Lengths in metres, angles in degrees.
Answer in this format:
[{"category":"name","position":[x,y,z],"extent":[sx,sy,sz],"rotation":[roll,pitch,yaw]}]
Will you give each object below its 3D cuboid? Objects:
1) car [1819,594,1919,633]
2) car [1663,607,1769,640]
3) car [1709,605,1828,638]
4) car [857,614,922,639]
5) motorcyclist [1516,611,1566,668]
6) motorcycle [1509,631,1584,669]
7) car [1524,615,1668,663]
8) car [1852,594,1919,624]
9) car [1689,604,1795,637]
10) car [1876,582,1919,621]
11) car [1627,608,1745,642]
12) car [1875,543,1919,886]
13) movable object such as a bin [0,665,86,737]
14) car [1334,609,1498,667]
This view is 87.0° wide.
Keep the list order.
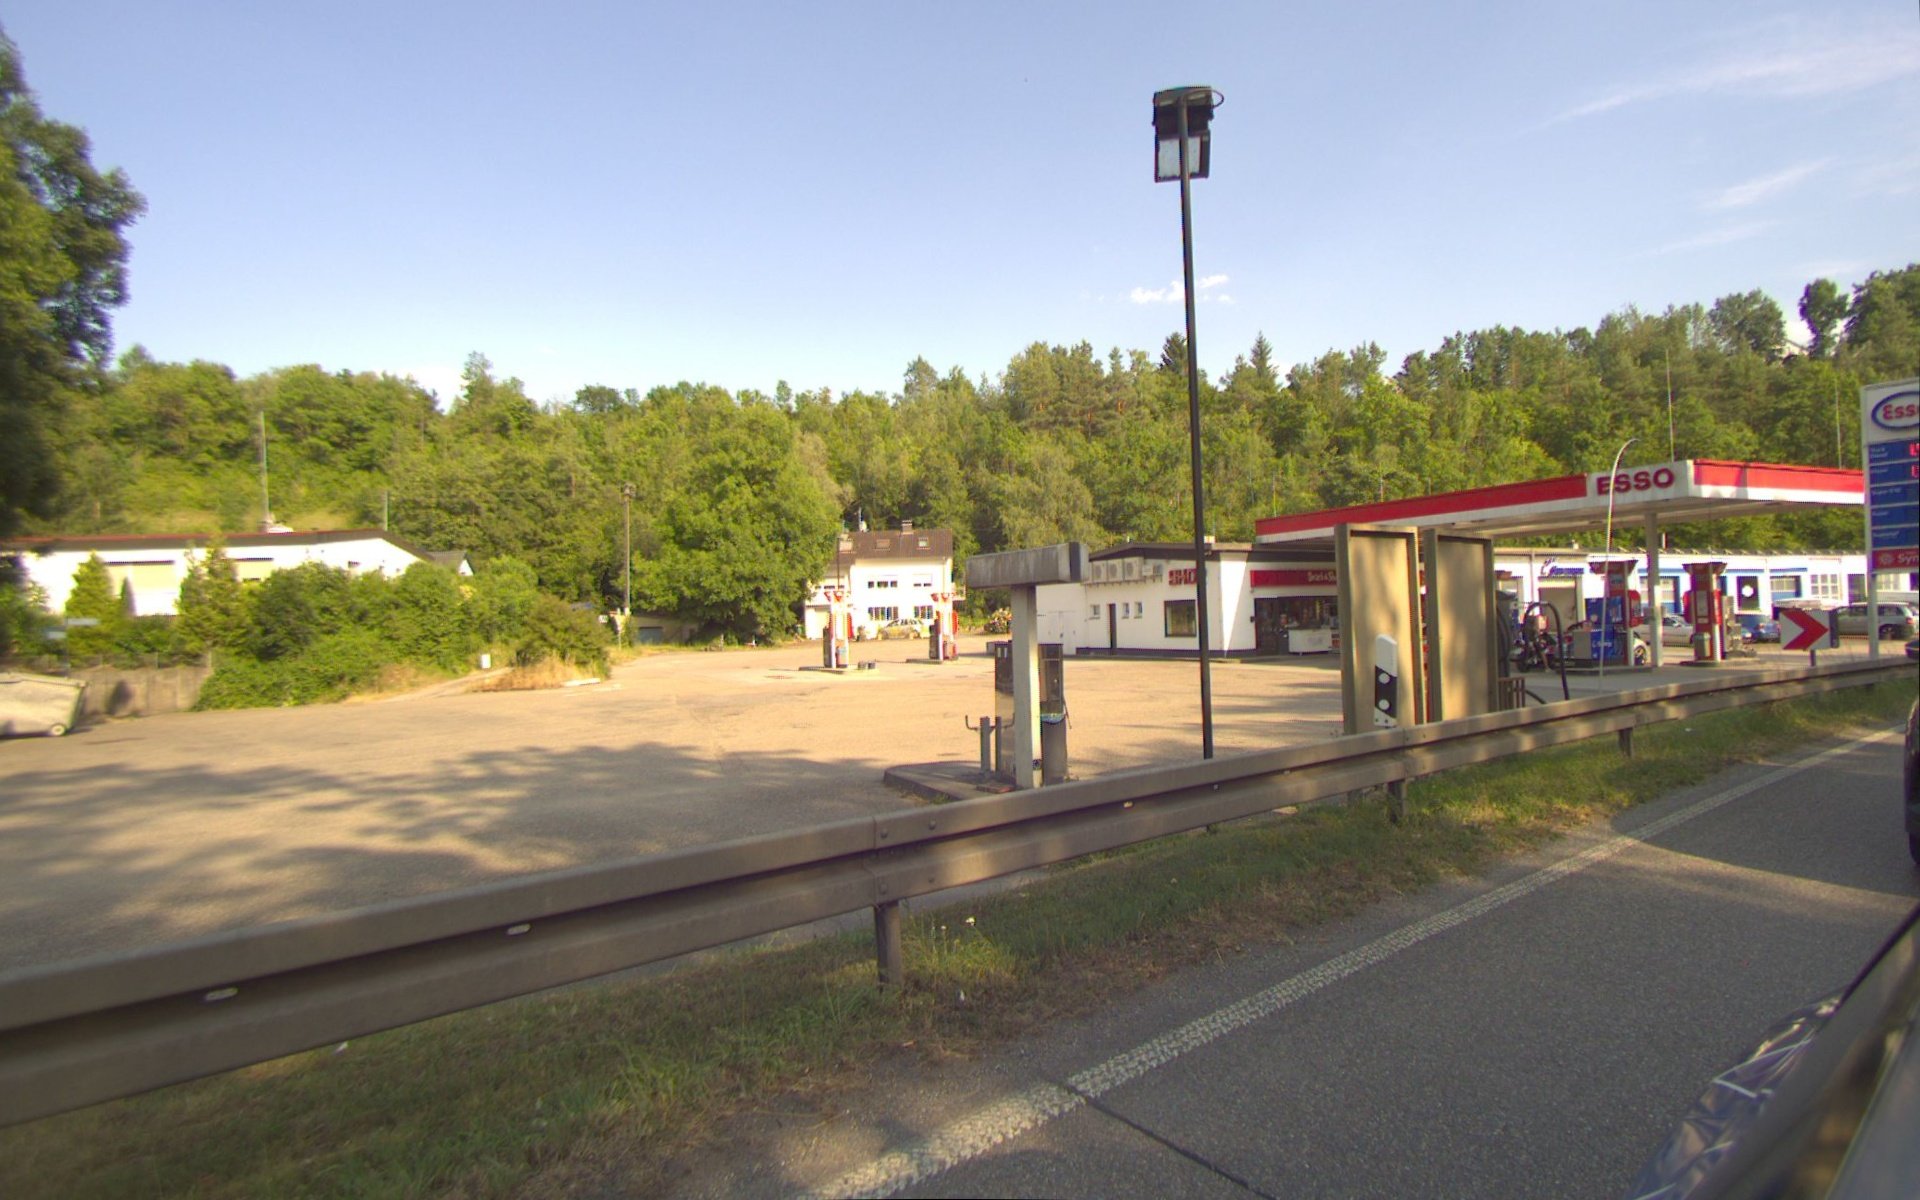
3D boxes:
[{"category":"car","position":[46.312,0.645,50.969],"extent":[1.854,1.750,4.267],"rotation":[-1,2,-29]},{"category":"car","position":[34.981,1.068,46.905],"extent":[1.656,1.424,3.566],"rotation":[-1,0,-26]},{"category":"car","position":[38.842,0.994,48.721],"extent":[1.856,1.365,4.087],"rotation":[-1,2,-26]},{"category":"car","position":[-5.612,2.114,81.515],"extent":[5.068,1.860,2.701],"rotation":[-1,-1,0]},{"category":"motorcyclist","position":[16.986,1.148,29.590],"extent":[0.909,1.625,0.862],"rotation":[0,-1,-27]},{"category":"motorcycle","position":[17.203,1.457,29.684],"extent":[2.293,1.025,0.765],"rotation":[-1,-1,-27]},{"category":"car","position":[19.987,1.185,31.788],"extent":[4.299,1.336,1.851],"rotation":[-1,-1,-26]},{"category":"car","position":[52.845,0.477,56.473],"extent":[1.856,1.631,4.261],"rotation":[-1,1,-26]},{"category":"car","position":[36.926,0.966,47.893],"extent":[1.698,1.464,3.560],"rotation":[-1,0,-26]},{"category":"car","position":[57.022,0.095,58.561],"extent":[2.248,2.302,5.500],"rotation":[-1,1,-26]},{"category":"car","position":[32.741,1.091,45.759],"extent":[1.741,1.371,3.973],"rotation":[-1,1,-30]},{"category":"car","position":[6.844,0.543,5.607],"extent":[4.359,1.661,1.860],"rotation":[0,0,-37]},{"category":"movable object such as a bin","position":[-20.353,2.176,21.631],"extent":[2.512,1.439,1.267],"rotation":[0,-4,-41]},{"category":"car","position":[14.655,1.161,32.506],"extent":[5.074,1.649,2.102],"rotation":[-1,-1,-28]}]
